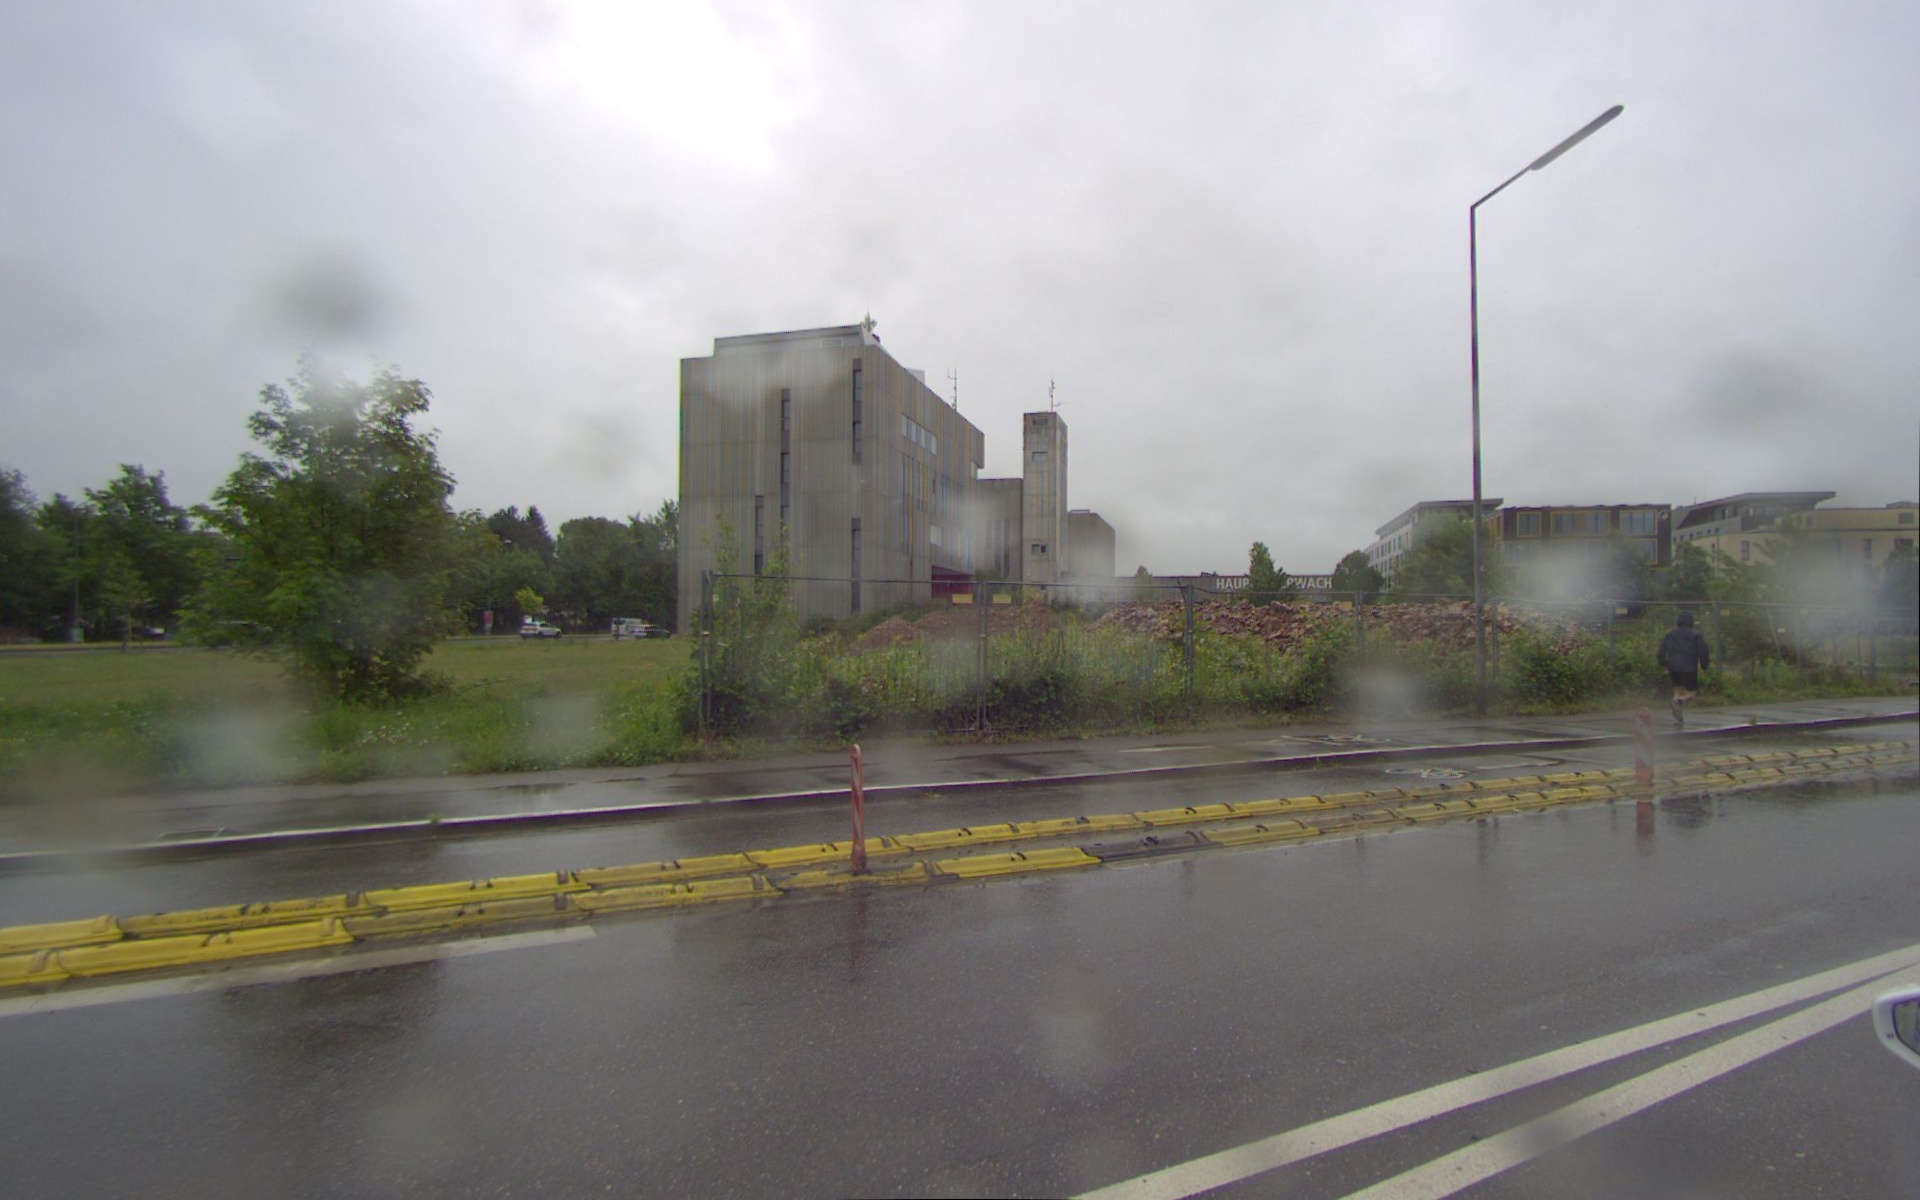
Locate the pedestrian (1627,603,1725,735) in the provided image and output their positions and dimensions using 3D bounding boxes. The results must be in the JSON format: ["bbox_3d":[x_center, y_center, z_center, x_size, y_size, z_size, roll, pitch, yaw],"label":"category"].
[{"bbox_3d":[11.522,1.104,16.168,1.116,2.040,0.844,3,-2,-25],"label":"pedestrian"}]

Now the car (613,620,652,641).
[{"bbox_3d":[-33.778,3.149,103.595,1.753,2.062,4.002,1,-3,18],"label":"car"}]

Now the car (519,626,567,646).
[{"bbox_3d":[-37.826,3.287,91.210,1.653,1.669,3.948,1,-3,20],"label":"car"}]

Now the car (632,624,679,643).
[{"bbox_3d":[-29.994,3.292,99.040,1.755,1.834,4.835,0,-2,23],"label":"car"}]

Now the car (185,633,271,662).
[{"bbox_3d":[-45.541,2.959,62.570,1.753,1.669,4.003,1,-3,16],"label":"car"}]
